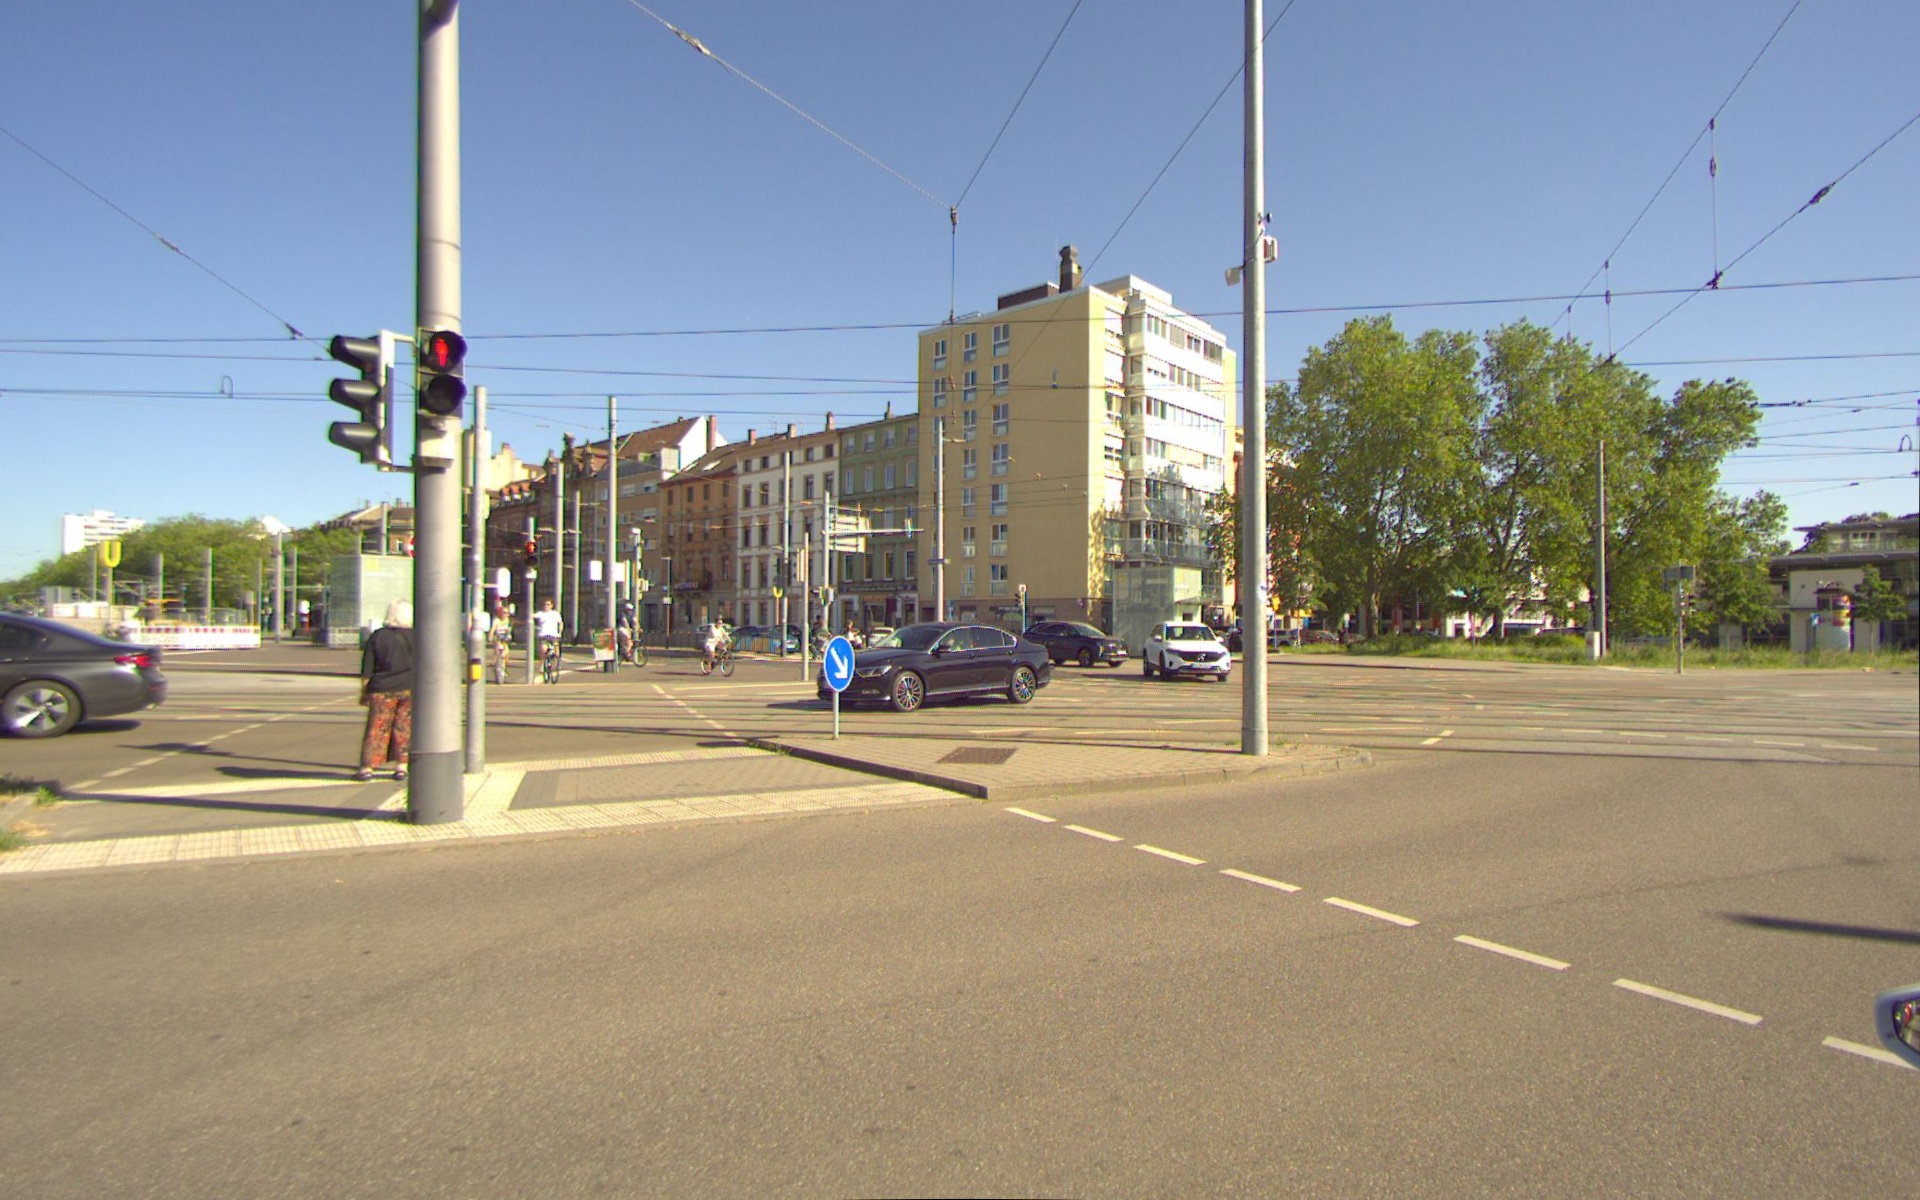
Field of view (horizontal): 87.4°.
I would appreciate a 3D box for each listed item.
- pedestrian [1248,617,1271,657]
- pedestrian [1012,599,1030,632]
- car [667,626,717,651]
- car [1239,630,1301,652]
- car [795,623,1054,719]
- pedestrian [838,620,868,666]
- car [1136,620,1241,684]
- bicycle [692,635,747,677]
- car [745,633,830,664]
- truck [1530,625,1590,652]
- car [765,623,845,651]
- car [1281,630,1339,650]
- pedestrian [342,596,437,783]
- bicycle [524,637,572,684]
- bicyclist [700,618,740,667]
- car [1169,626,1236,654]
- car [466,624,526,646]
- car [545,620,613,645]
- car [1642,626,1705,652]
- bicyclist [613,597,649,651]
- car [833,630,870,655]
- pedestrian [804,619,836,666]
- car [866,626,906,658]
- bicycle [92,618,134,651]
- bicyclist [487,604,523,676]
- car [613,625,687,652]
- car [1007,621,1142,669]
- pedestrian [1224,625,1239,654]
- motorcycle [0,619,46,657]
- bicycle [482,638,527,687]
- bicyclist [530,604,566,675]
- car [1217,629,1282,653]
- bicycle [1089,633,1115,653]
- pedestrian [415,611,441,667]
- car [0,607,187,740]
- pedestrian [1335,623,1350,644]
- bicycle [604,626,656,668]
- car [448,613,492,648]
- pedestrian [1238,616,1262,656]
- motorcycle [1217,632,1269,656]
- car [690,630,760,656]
[{"bbox_3d":[15.875,1.945,53.245,0.863,2.057,0.846,2,0,-42],"label":"pedestrian"},{"bbox_3d":[3.213,0.835,53.260,0.609,1.728,0.709,2,0,-37],"label":"pedestrian"},{"bbox_3d":[-20.323,2.889,76.070,3.946,1.687,1.987,1,0,45],"label":"car"},{"bbox_3d":[22.700,2.983,73.649,3.936,1.519,1.993,-1,-1,37],"label":"car"},{"bbox_3d":[-0.498,1.147,17.477,4.451,1.435,1.827,2,-2,-45],"label":"car"},{"bbox_3d":[-4.404,1.763,41.402,0.979,1.823,0.989,2,0,-21],"label":"pedestrian"},{"bbox_3d":[6.429,1.436,28.762,1.964,1.662,4.566,1,-2,0],"label":"car"},{"bbox_3d":[-6.759,1.560,28.193,1.698,1.120,0.613,-1,-2,40],"label":"bicycle"},{"bbox_3d":[-8.505,2.356,49.439,3.935,1.378,1.907,0,-1,36],"label":"car"},{"bbox_3d":[53.971,3.433,90.349,1.976,2.250,4.184,2,0,-29],"label":"truck"},{"bbox_3d":[-8.160,1.940,52.628,4.538,1.346,1.786,0,-2,45],"label":"car"},{"bbox_3d":[27.556,3.115,79.181,3.936,1.519,1.993,-1,-1,37],"label":"car"},{"bbox_3d":[-4.959,0.765,8.757,0.635,1.576,0.370,2,0,-22],"label":"pedestrian"},{"bbox_3d":[-9.434,1.359,22.942,0.609,1.003,2.456,2,-2,-31],"label":"bicycle"},{"bbox_3d":[-6.728,1.194,28.184,0.783,1.340,0.757,0,-2,39],"label":"bicyclist"},{"bbox_3d":[16.122,2.629,66.804,3.936,1.830,1.993,-1,-1,37],"label":"car"},{"bbox_3d":[-30.225,2.254,65.386,3.935,1.378,1.907,0,-1,36],"label":"car"},{"bbox_3d":[-22.601,1.903,59.548,3.935,1.378,1.907,0,-1,36],"label":"car"},{"bbox_3d":[61.298,3.329,86.333,1.980,2.040,3.960,2,0,-35],"label":"car"},{"bbox_3d":[-10.465,0.768,31.966,0.783,1.697,0.757,0,-2,39],"label":"bicyclist"},{"bbox_3d":[-7.088,2.765,65.925,1.781,1.378,4.001,2,0,3],"label":"car"},{"bbox_3d":[-5.928,1.796,42.502,0.981,1.929,0.986,2,0,-29],"label":"pedestrian"},{"bbox_3d":[-4.586,2.606,63.132,1.960,1.775,4.001,2,0,3],"label":"car"},{"bbox_3d":[-33.974,1.363,40.323,0.358,1.287,1.502,2,0,1],"label":"bicycle"},{"bbox_3d":[-10.077,0.879,22.240,0.570,1.549,0.948,2,0,-32],"label":"bicyclist"},{"bbox_3d":[-16.874,2.064,54.630,3.935,1.378,1.907,0,-1,36],"label":"car"},{"bbox_3d":[4.198,1.633,37.202,4.559,1.598,2.036,0,-2,39],"label":"car"},{"bbox_3d":[15.840,2.322,58.611,0.745,1.643,0.653,2,0,23],"label":"pedestrian"},{"bbox_3d":[-33.543,1.329,35.566,0.524,1.270,2.105,2,0,-4],"label":"motorcycle"},{"bbox_3d":[-10.205,1.368,22.456,0.609,1.003,2.456,2,-2,-31],"label":"bicycle"},{"bbox_3d":[-9.346,0.892,22.795,0.589,1.570,0.988,2,-1,-31],"label":"bicyclist"},{"bbox_3d":[20.116,2.839,69.843,3.936,1.585,1.993,-1,-1,37],"label":"car"},{"bbox_3d":[9.124,2.759,64.392,0.610,1.232,1.937,2,0,43],"label":"bicycle"},{"bbox_3d":[-15.650,1.143,29.544,0.601,1.629,0.709,2,0,-29],"label":"pedestrian"},{"bbox_3d":[-11.905,0.813,11.608,4.600,1.477,1.868,2,-1,-36],"label":"car"},{"bbox_3d":[37.332,3.251,98.065,1.089,2.040,1.175,2,0,33],"label":"pedestrian"},{"bbox_3d":[-10.509,1.485,31.974,1.934,1.273,0.613,0,-1,40],"label":"bicycle"},{"bbox_3d":[-47.047,2.891,96.393,4.847,3.148,1.991,2,0,40],"label":"car"},{"bbox_3d":[15.209,1.869,52.664,0.863,2.057,0.846,2,0,-42],"label":"pedestrian"},{"bbox_3d":[15.898,2.482,56.568,1.272,1.193,2.954,2,0,-22],"label":"motorcycle"},{"bbox_3d":[-13.650,2.474,58.132,4.538,1.346,1.786,0,-2,45],"label":"car"}]
